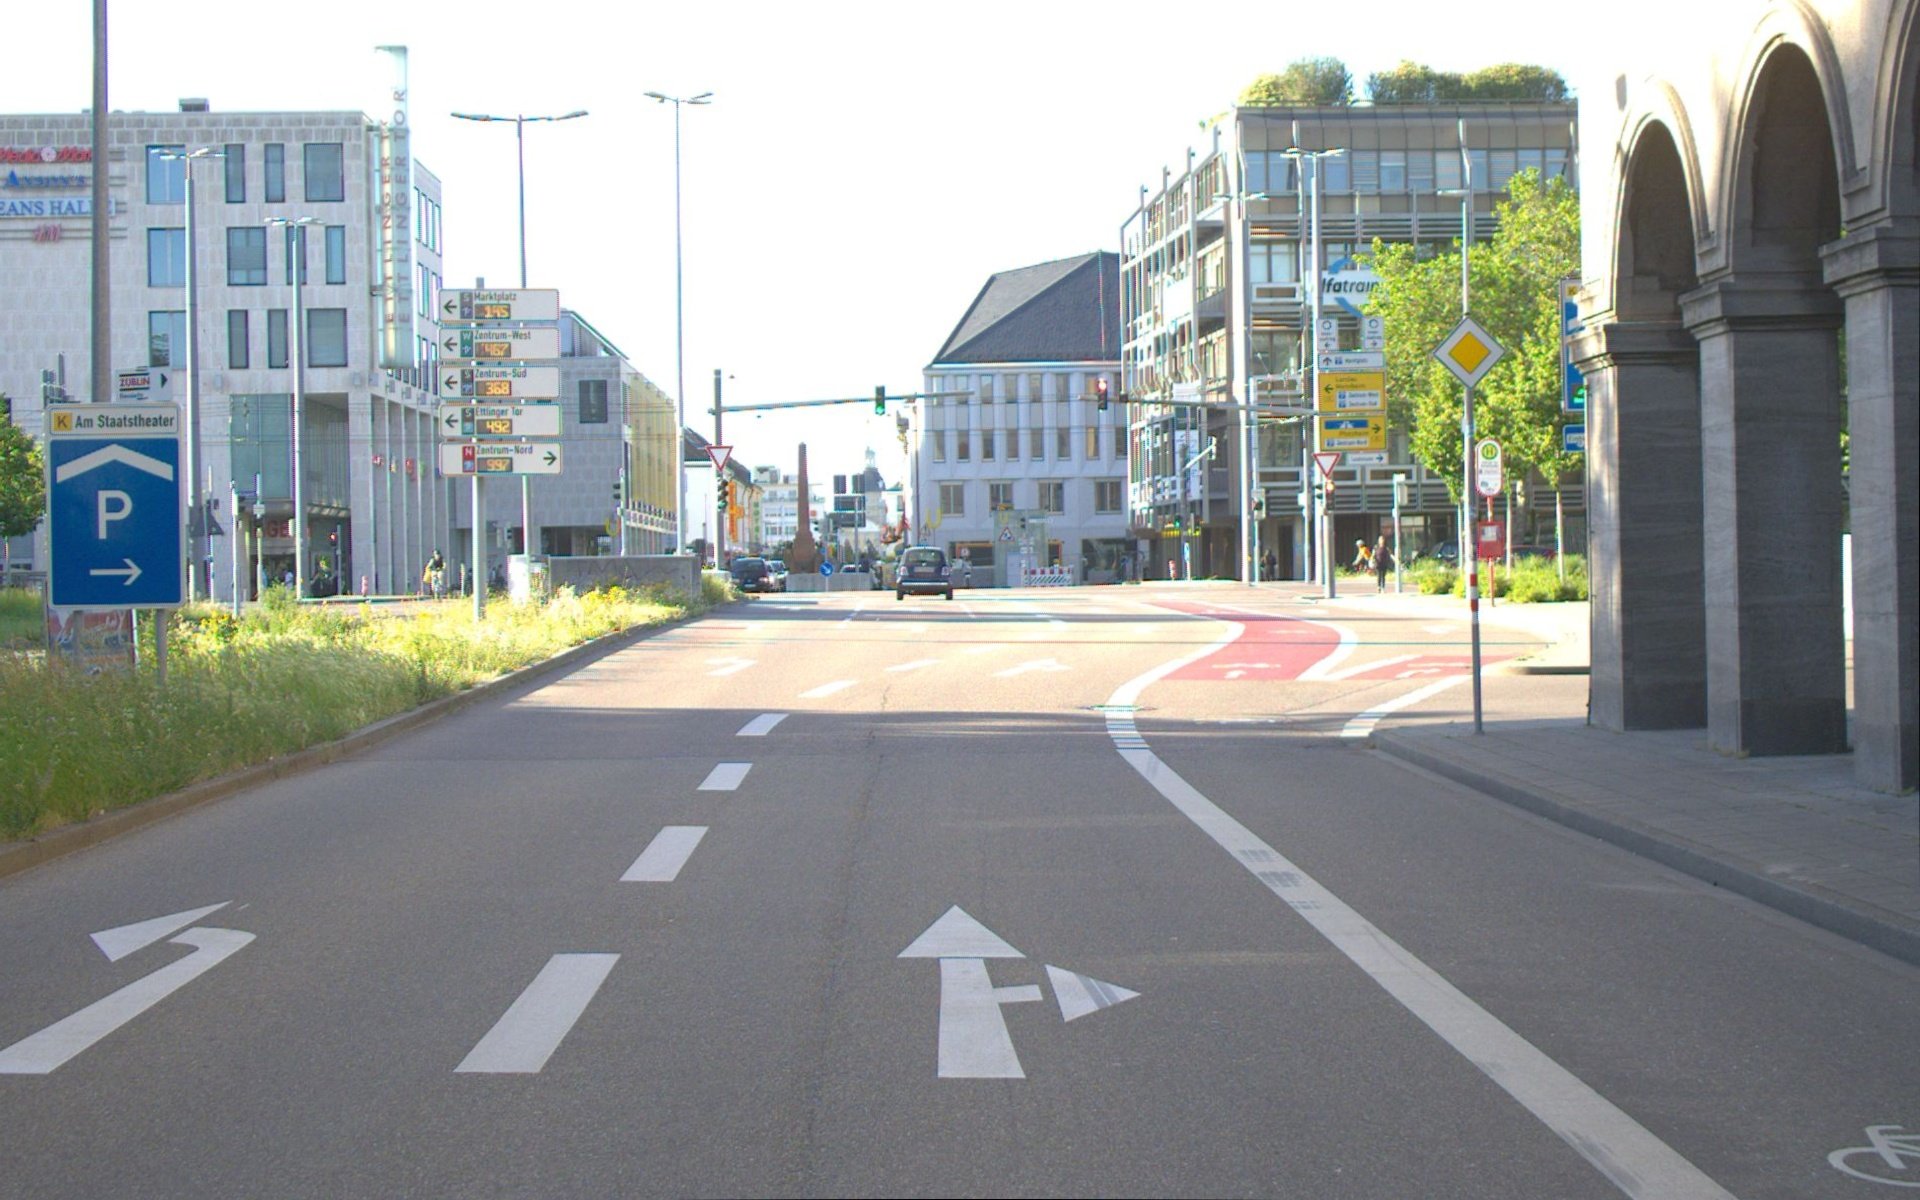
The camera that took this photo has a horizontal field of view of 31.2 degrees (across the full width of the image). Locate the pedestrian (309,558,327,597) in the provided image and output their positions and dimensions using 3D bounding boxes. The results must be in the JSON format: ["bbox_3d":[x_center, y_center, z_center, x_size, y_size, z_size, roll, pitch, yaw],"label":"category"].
[{"bbox_3d":[-26.937,-0.955,144.190,0.623,1.602,0.653,-1,1,-1],"label":"pedestrian"}]

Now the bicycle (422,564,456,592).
[{"bbox_3d":[-16.392,-0.695,108.286,0.612,0.858,1.950,-1,1,5],"label":"bicycle"}]

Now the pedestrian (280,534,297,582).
[{"bbox_3d":[-28.474,-1.790,145.769,0.622,2.007,0.516,-1,1,-9],"label":"pedestrian"}]

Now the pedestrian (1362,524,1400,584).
[{"bbox_3d":[12.472,-1.364,101.837,0.822,1.742,1.040,-2,0,21],"label":"pedestrian"}]

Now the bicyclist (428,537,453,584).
[{"bbox_3d":[-16.389,-1.247,108.453,0.607,1.484,0.681,-1,1,5],"label":"bicyclist"}]

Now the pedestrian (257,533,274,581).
[{"bbox_3d":[-29.315,-1.827,145.123,0.622,2.007,0.516,-1,1,-9],"label":"pedestrian"}]

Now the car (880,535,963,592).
[{"bbox_3d":[-1.116,-1.050,98.293,1.775,1.558,3.790,-1,1,-10],"label":"car"}]

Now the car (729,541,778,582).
[{"bbox_3d":[-9.463,-1.792,157.631,1.993,1.736,4.647,-1,2,-1],"label":"car"}]
